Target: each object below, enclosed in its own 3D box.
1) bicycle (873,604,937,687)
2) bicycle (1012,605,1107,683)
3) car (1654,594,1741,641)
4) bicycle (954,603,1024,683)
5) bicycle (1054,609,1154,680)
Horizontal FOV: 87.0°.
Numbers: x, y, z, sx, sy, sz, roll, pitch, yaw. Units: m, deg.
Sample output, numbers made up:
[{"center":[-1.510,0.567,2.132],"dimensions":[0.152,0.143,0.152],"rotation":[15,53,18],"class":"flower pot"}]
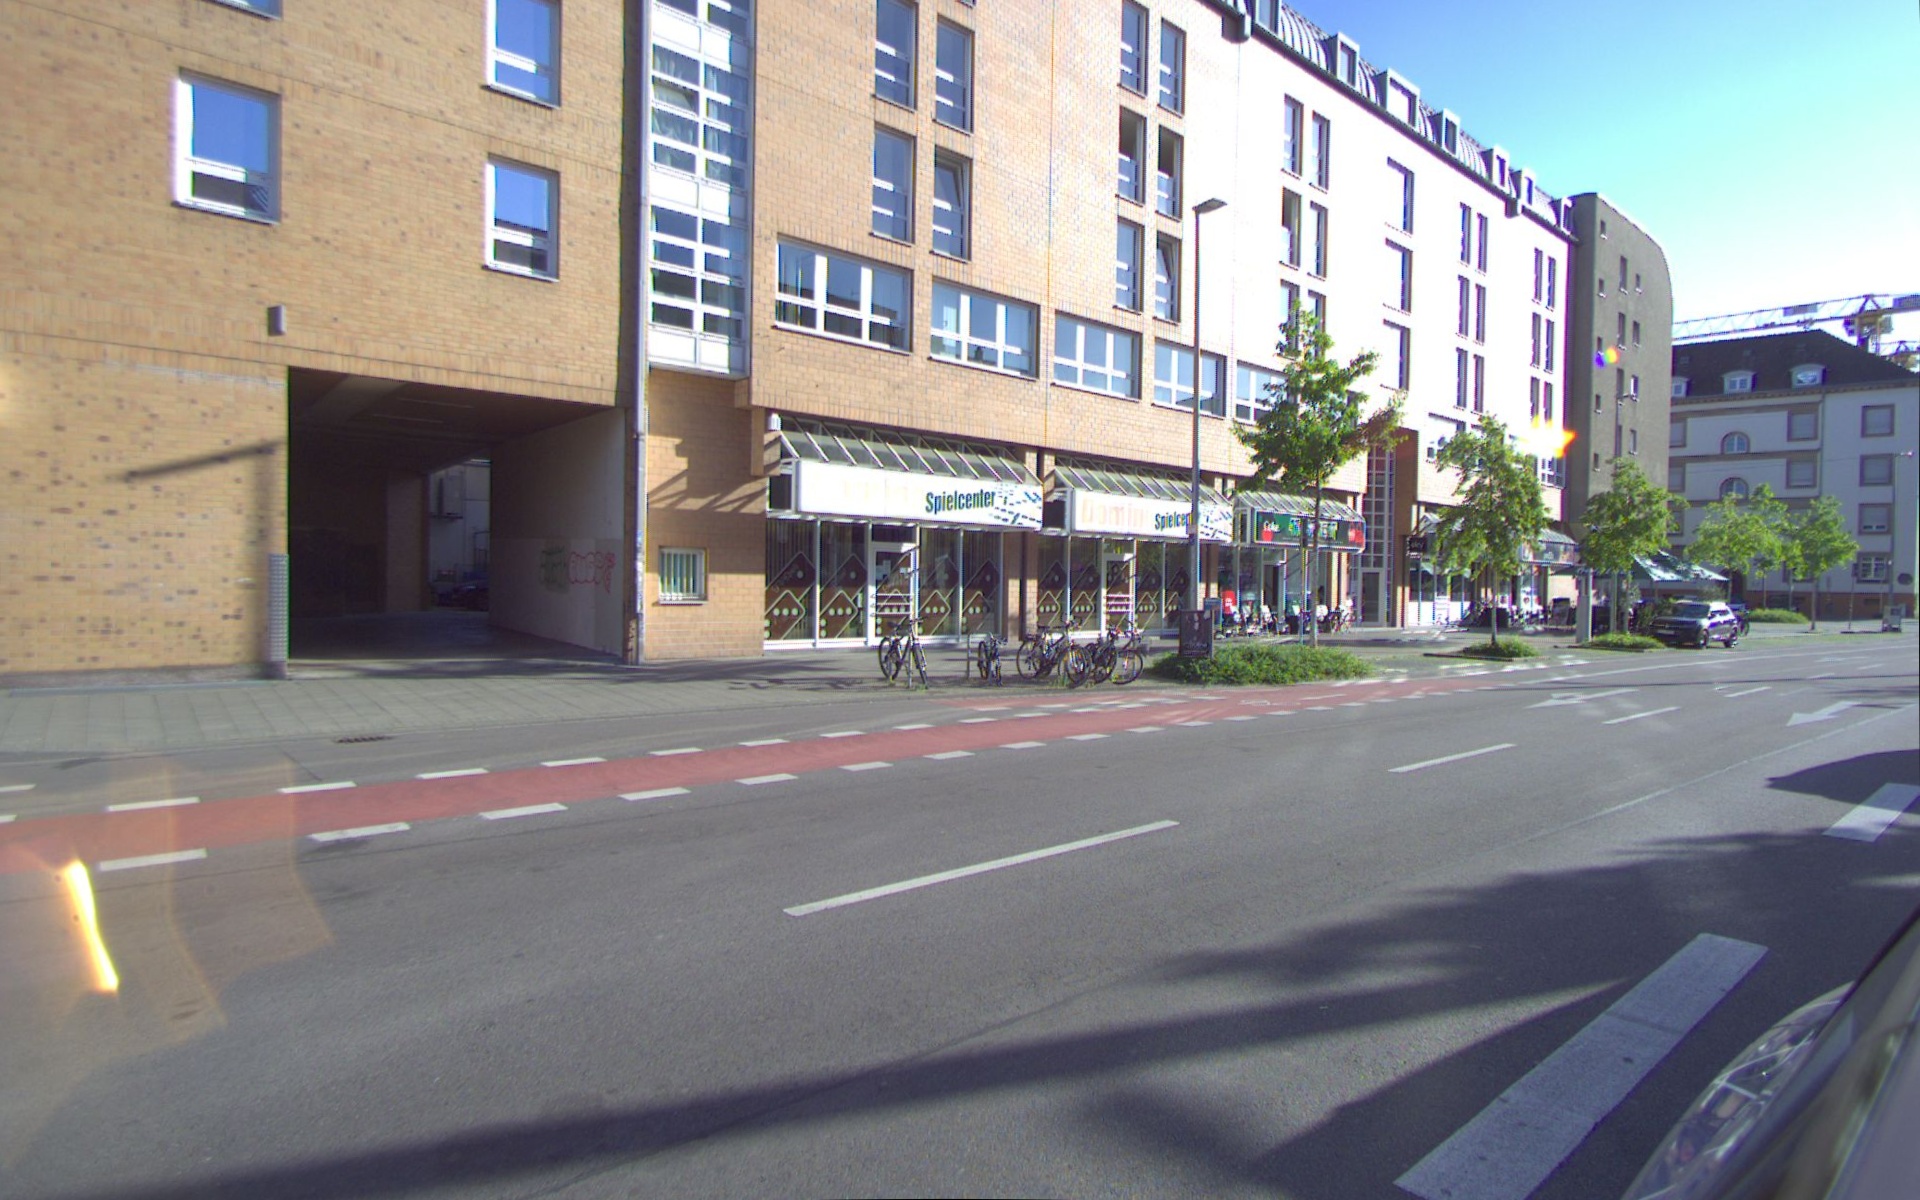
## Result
[{"center":[-0.913,0.690,16.301],"dimensions":[0.541,1.162,1.780],"rotation":[0,3,-20],"class":"bicycle"},{"center":[1.671,0.720,17.239],"dimensions":[0.543,1.155,1.775],"rotation":[-1,3,-37],"class":"bicycle"},{"center":[25.778,0.574,35.353],"dimensions":[3.628,1.549,1.654],"rotation":[-1,0,-40],"class":"car"},{"center":[0.454,0.678,16.771],"dimensions":[0.541,1.162,1.780],"rotation":[0,3,-20],"class":"bicycle"},{"center":[2.547,0.763,18.075],"dimensions":[0.724,1.084,1.775],"rotation":[-1,3,-37],"class":"bicycle"}]
